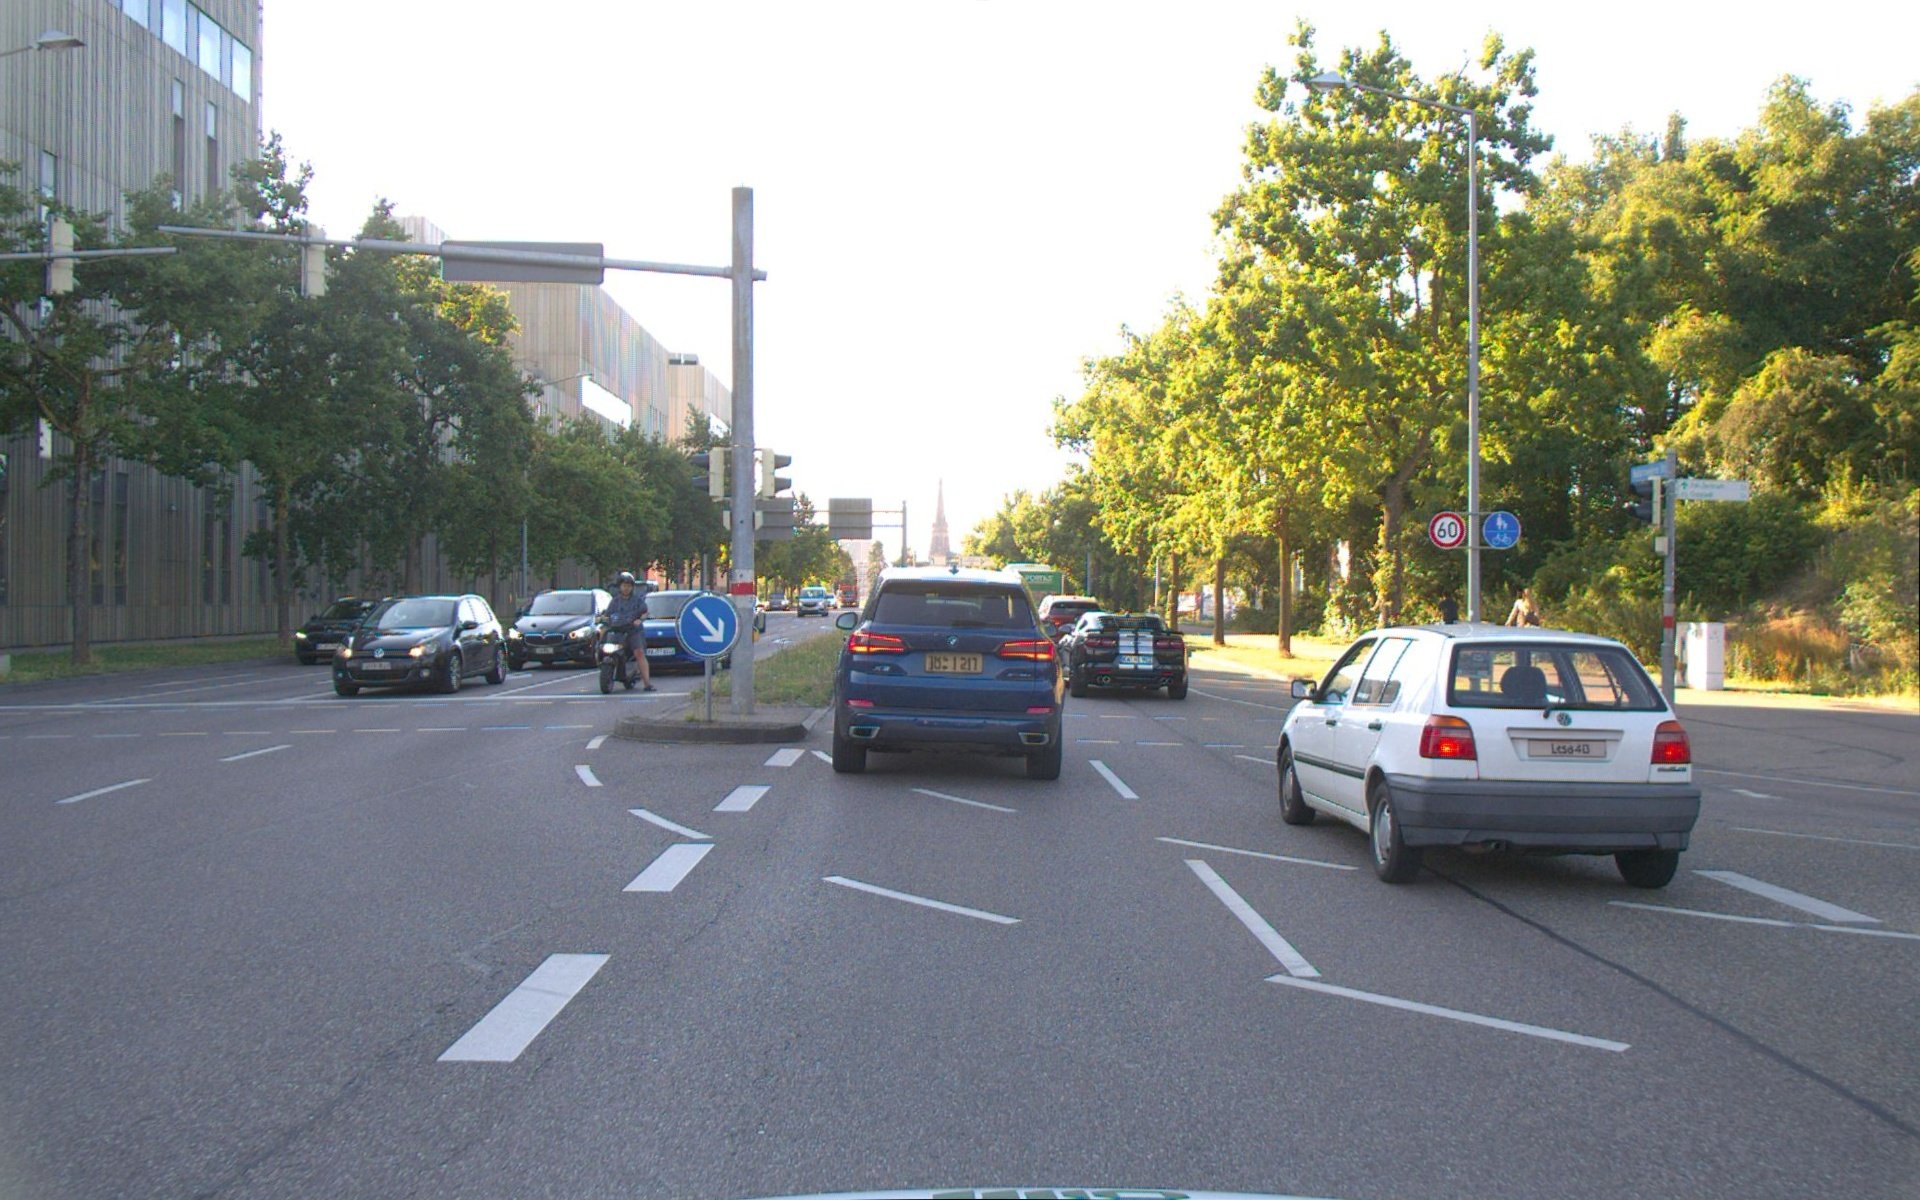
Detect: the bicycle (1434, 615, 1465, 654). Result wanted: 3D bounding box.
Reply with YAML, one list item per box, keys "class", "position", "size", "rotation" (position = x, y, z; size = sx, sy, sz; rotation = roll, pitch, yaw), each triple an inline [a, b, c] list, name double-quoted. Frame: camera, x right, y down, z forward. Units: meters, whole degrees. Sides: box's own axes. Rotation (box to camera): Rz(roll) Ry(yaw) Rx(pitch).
- class: "bicycle"
  position: [11.978, 0.837, 40.459]
  size: [0.428, 0.930, 1.026]
  rotation: [2, -1, -1]

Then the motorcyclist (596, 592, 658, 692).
- class: "motorcyclist"
  position: [-4.868, 0.595, 24.259]
  size: [0.782, 1.373, 1.272]
  rotation: [-1, 1, -8]

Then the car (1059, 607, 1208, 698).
- class: "car"
  position: [2.760, 0.822, 27.197]
  size: [1.953, 1.317, 3.999]
  rotation: [2, -1, -1]

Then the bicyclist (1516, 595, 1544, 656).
- class: "bicyclist"
  position: [11.658, 0.520, 33.833]
  size: [0.419, 1.254, 0.460]
  rotation: [0, -1, -1]

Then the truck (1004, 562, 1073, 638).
- class: "truck"
  position: [2.551, 0.023, 54.421]
  size: [1.955, 2.356, 3.999]
  rotation: [2, -1, -1]

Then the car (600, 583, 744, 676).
- class: "car"
  position: [-5.113, 0.512, 29.805]
  size: [1.666, 1.477, 3.859]
  rotation: [-3, -1, 3]

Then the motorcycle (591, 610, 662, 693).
- class: "motorcycle"
  position: [-4.861, 0.726, 24.236]
  size: [0.824, 1.094, 2.397]
  rotation: [-2, 1, -7]

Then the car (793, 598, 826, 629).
- class: "car"
  position: [-9.546, 0.854, 105.004]
  size: [1.721, 1.808, 4.492]
  rotation: [-3, -1, -2]

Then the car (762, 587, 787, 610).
- class: "car"
  position: [-15.774, -0.108, 140.922]
  size: [1.721, 1.735, 4.492]
  rotation: [-3, -1, -2]

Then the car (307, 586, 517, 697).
- class: "car"
  position: [-8.363, 0.623, 25.660]
  size: [1.953, 1.501, 4.078]
  rotation: [2, -1, -2]

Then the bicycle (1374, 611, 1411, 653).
- class: "bicycle"
  position: [12.028, 0.896, 46.021]
  size: [0.553, 1.132, 1.621]
  rotation: [2, -1, -1]

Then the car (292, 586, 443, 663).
- class: "car"
  position: [-13.924, 0.580, 39.162]
  size: [1.954, 1.619, 4.713]
  rotation: [-3, -1, -2]

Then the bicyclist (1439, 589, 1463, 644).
- class: "bicyclist"
  position: [12.001, 0.409, 40.445]
  size: [0.419, 1.331, 0.460]
  rotation: [2, -1, -1]

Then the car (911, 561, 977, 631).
- class: "car"
  position: [-0.688, -0.123, 65.493]
  size: [2.095, 2.621, 5.080]
  rotation: [2, -1, -6]

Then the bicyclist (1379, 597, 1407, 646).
- class: "bicyclist"
  position: [12.034, 0.599, 45.992]
  size: [0.532, 1.339, 0.835]
  rotation: [2, -1, -1]

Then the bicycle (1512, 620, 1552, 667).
- class: "bicycle"
  position: [11.672, 0.887, 33.784]
  size: [0.428, 0.930, 1.026]
  rotation: [-1, -1, -1]

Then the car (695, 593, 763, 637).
- class: "car"
  position: [-8.559, 0.569, 61.539]
  size: [1.954, 1.477, 4.796]
  rotation: [-3, -1, -2]

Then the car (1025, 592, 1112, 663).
- class: "car"
  position: [2.600, 0.667, 40.441]
  size: [1.760, 1.586, 3.999]
  rotation: [2, -1, -1]

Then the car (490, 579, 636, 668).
- class: "car"
  position: [-8.089, 0.479, 34.158]
  size: [1.954, 1.619, 4.713]
  rotation: [-3, -1, -2]

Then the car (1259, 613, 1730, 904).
- class: "car"
  position: [3.105, 0.838, 10.481]
  size: [1.547, 1.438, 4.060]
  rotation: [2, -1, -2]

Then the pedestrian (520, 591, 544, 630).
- class: "pedestrian"
  position: [-23.392, 0.572, 90.433]
  size: [0.998, 2.049, 0.961]
  rotation: [2, -1, -1]

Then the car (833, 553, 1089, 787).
- class: "car"
  position: [-0.016, 0.581, 15.224]
  size: [1.953, 1.764, 4.531]
  rotation: [2, -1, -1]

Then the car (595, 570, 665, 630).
- class: "car"
  position: [-11.840, -0.039, 59.574]
  size: [1.758, 2.013, 3.992]
  rotation: [-3, 1, -2]

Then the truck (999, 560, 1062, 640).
- class: "truck"
  position: [2.491, 0.032, 59.118]
  size: [1.955, 2.715, 3.999]
  rotation: [2, -1, -1]

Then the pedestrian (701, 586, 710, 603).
- class: "pedestrian"
  position: [-23.620, -0.489, 153.323]
  size: [0.614, 1.548, 0.718]
  rotation: [2, -1, 2]

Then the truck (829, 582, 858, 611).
- class: "truck"
  position: [-17.788, -0.466, 253.030]
  size: [3.909, 4.160, 11.441]
  rotation: [2, -1, -3]
